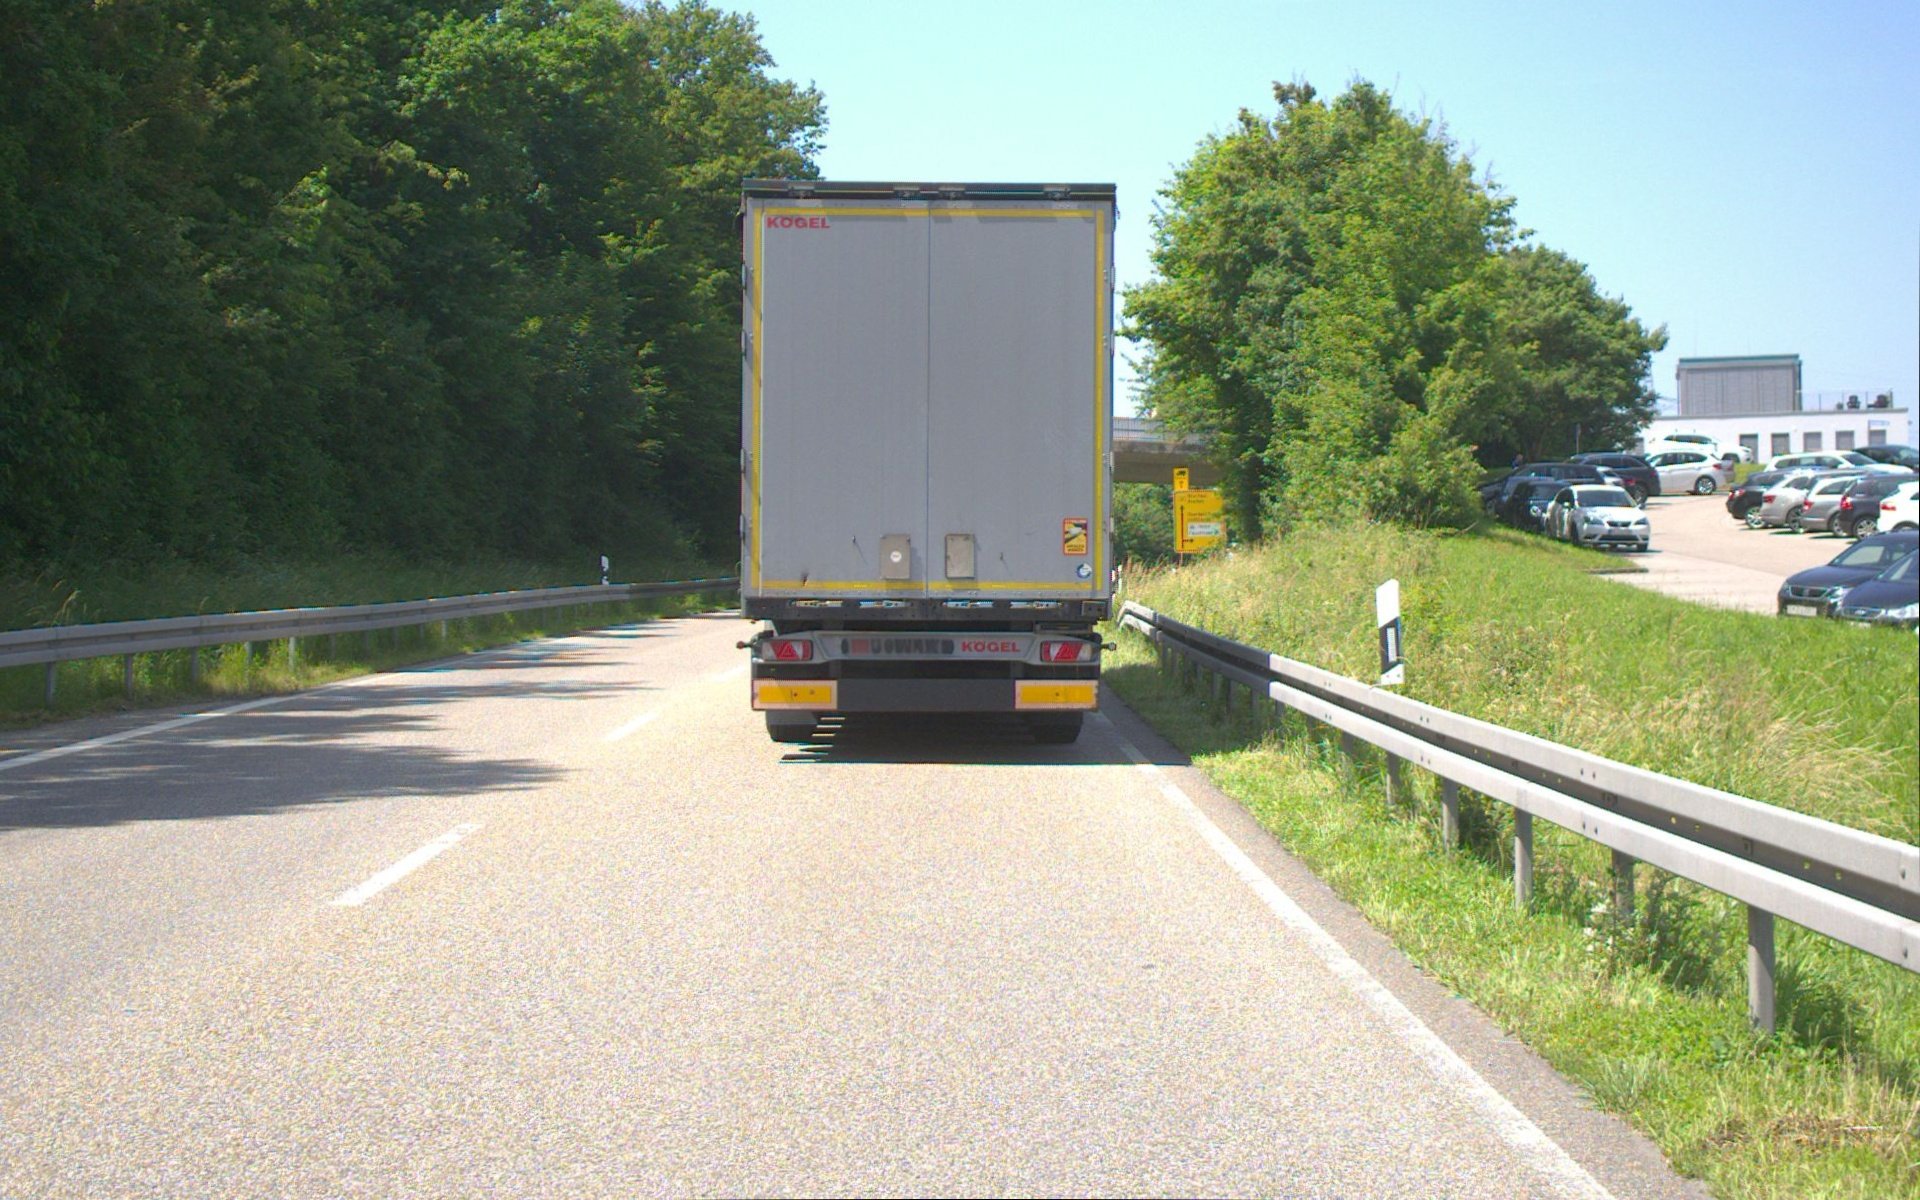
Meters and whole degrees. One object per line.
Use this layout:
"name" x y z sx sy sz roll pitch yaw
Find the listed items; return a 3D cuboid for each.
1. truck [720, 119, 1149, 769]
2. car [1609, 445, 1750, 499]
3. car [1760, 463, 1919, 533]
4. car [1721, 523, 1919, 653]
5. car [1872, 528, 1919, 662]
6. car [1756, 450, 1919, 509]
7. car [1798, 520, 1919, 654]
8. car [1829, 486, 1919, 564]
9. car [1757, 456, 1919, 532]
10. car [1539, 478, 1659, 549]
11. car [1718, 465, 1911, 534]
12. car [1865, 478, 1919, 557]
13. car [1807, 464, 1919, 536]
"truck" -0.196 -1.142 27.892 2.866 4.344 9.789 0 1 0
"car" 24.101 -4.313 115.134 4.362 1.679 1.889 -1 6 -29
"car" 22.223 -2.503 84.916 4.576 1.623 1.819 1 0 20
"car" 13.752 -0.141 51.395 4.362 1.680 1.889 3 4 -29
"car" 14.466 0.062 45.608 4.362 1.680 1.889 3 4 -29
"car" 26.142 -3.579 101.886 4.581 1.623 1.817 2 1 34
"car" 14.126 -0.112 48.195 4.362 1.680 1.889 3 4 -29
"car" 21.614 -1.600 75.656 4.576 1.623 1.819 3 3 20
"car" 21.484 -2.532 81.943 4.576 1.623 1.819 3 3 20
"car" 14.340 -1.968 77.302 1.624 1.349 3.712 4 3 -5
"car" 21.955 -2.578 88.324 4.576 1.623 1.819 2 1 20
"car" 21.677 -1.697 72.958 4.576 1.623 1.819 3 2 20
"car" 21.847 -2.279 78.709 4.576 1.623 1.819 1 2 20
